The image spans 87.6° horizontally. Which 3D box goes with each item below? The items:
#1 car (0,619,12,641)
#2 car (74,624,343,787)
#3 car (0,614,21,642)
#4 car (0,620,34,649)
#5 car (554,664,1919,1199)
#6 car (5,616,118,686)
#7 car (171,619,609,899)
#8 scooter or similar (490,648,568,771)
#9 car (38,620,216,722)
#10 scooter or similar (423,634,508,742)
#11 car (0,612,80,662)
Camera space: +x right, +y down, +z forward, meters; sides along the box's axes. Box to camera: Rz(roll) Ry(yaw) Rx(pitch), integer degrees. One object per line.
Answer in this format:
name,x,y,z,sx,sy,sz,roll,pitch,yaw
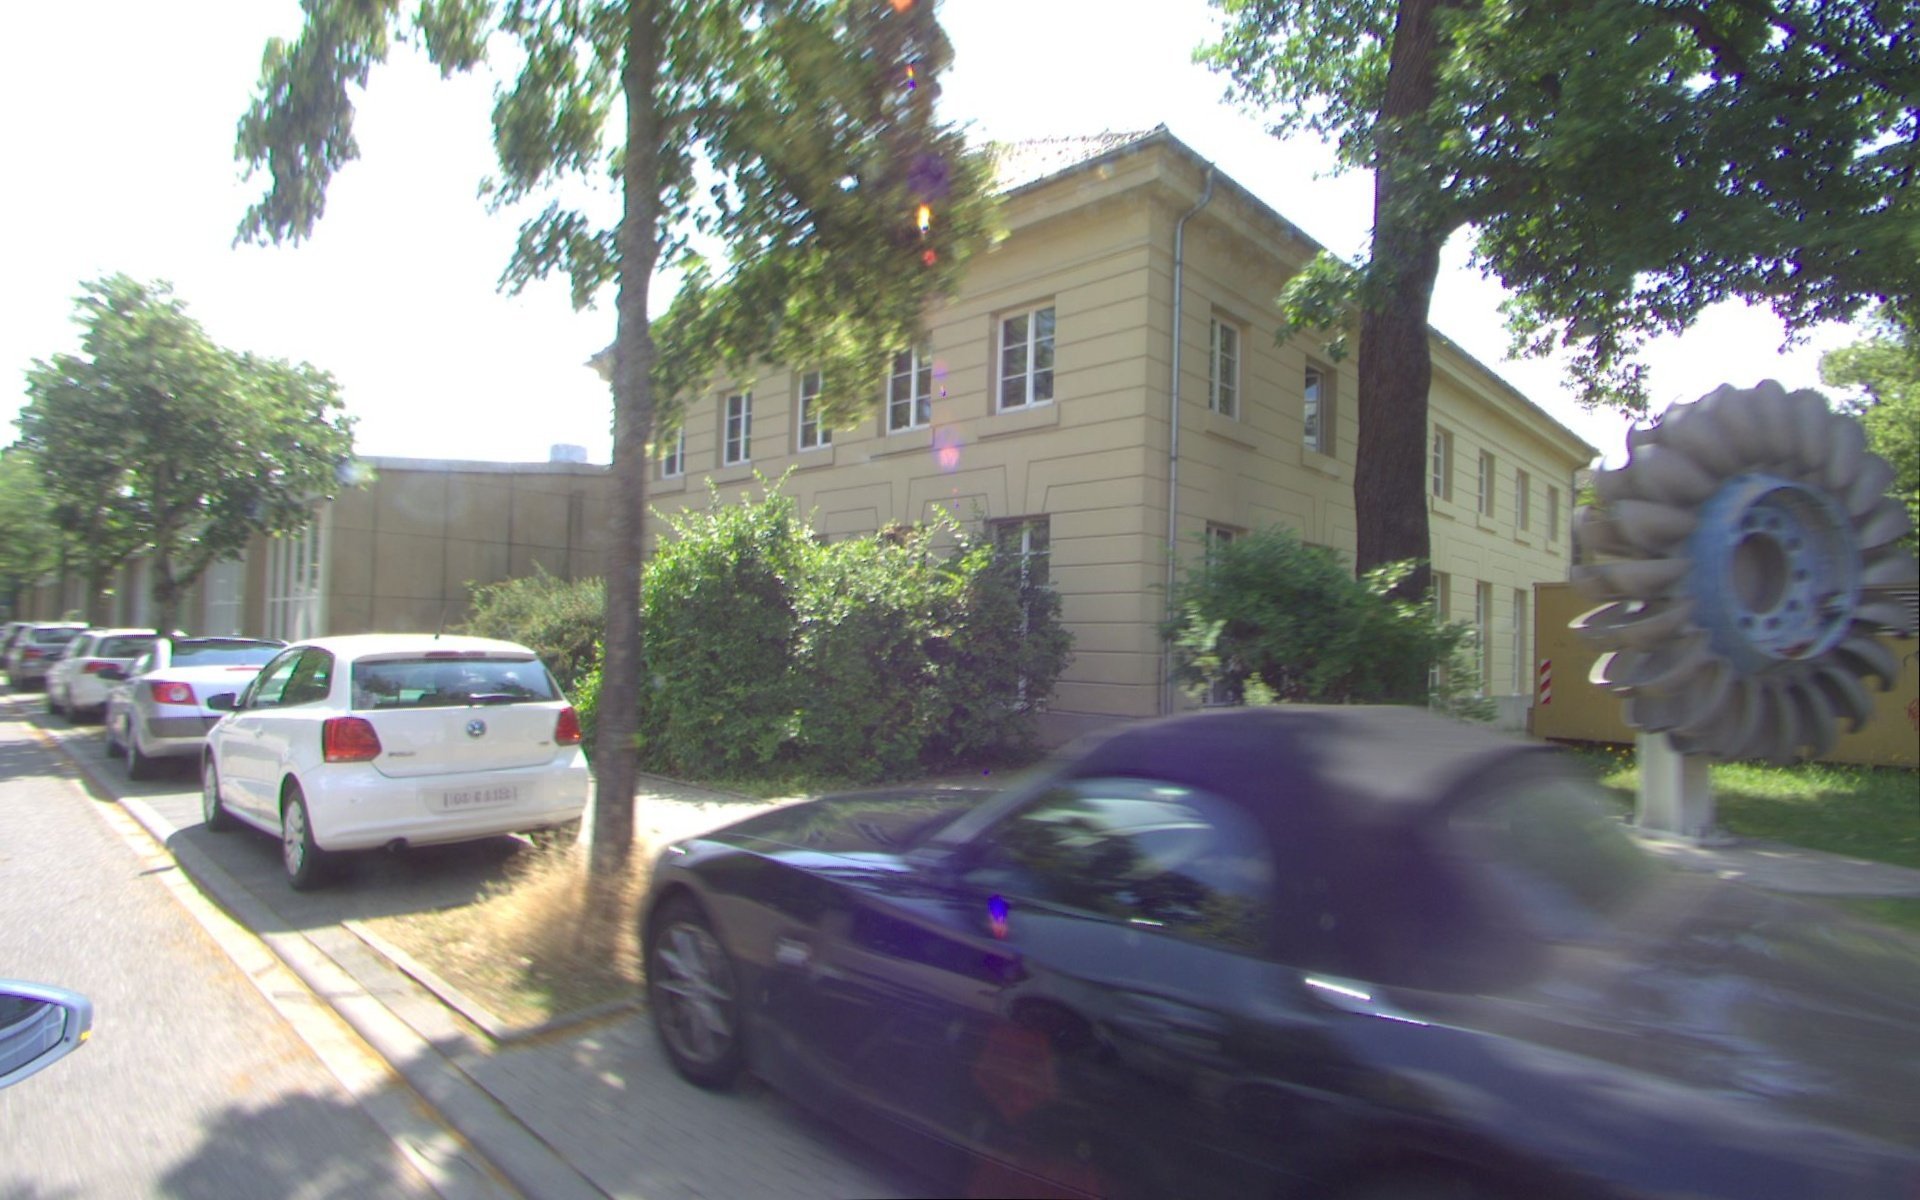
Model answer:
car,-69.556,2.150,71.995,3.959,1.594,1.848,-1,-2,45
car,-8.391,1.017,11.056,3.944,1.408,1.638,0,-1,42
car,-53.845,1.549,56.085,3.741,1.557,1.608,-1,-4,45
car,-49.795,1.782,52.386,4.415,1.495,1.771,-1,-2,44
car,0.445,0.919,3.032,1.698,1.296,3.960,4,-3,-44
car,-22.366,1.224,24.879,4.095,1.594,1.695,-1,-2,43
car,-4.289,0.926,7.258,3.945,1.484,1.580,-1,-3,42
scooter or similar,-4.736,1.162,10.966,0.515,1.237,1.228,2,-2,-35
car,-14.209,1.106,16.982,4.620,1.486,1.717,-1,-2,43
scooter or similar,-6.361,1.103,12.938,0.586,1.283,1.265,2,-1,-9
car,-33.047,1.341,35.885,4.535,1.685,1.813,-2,-3,43
